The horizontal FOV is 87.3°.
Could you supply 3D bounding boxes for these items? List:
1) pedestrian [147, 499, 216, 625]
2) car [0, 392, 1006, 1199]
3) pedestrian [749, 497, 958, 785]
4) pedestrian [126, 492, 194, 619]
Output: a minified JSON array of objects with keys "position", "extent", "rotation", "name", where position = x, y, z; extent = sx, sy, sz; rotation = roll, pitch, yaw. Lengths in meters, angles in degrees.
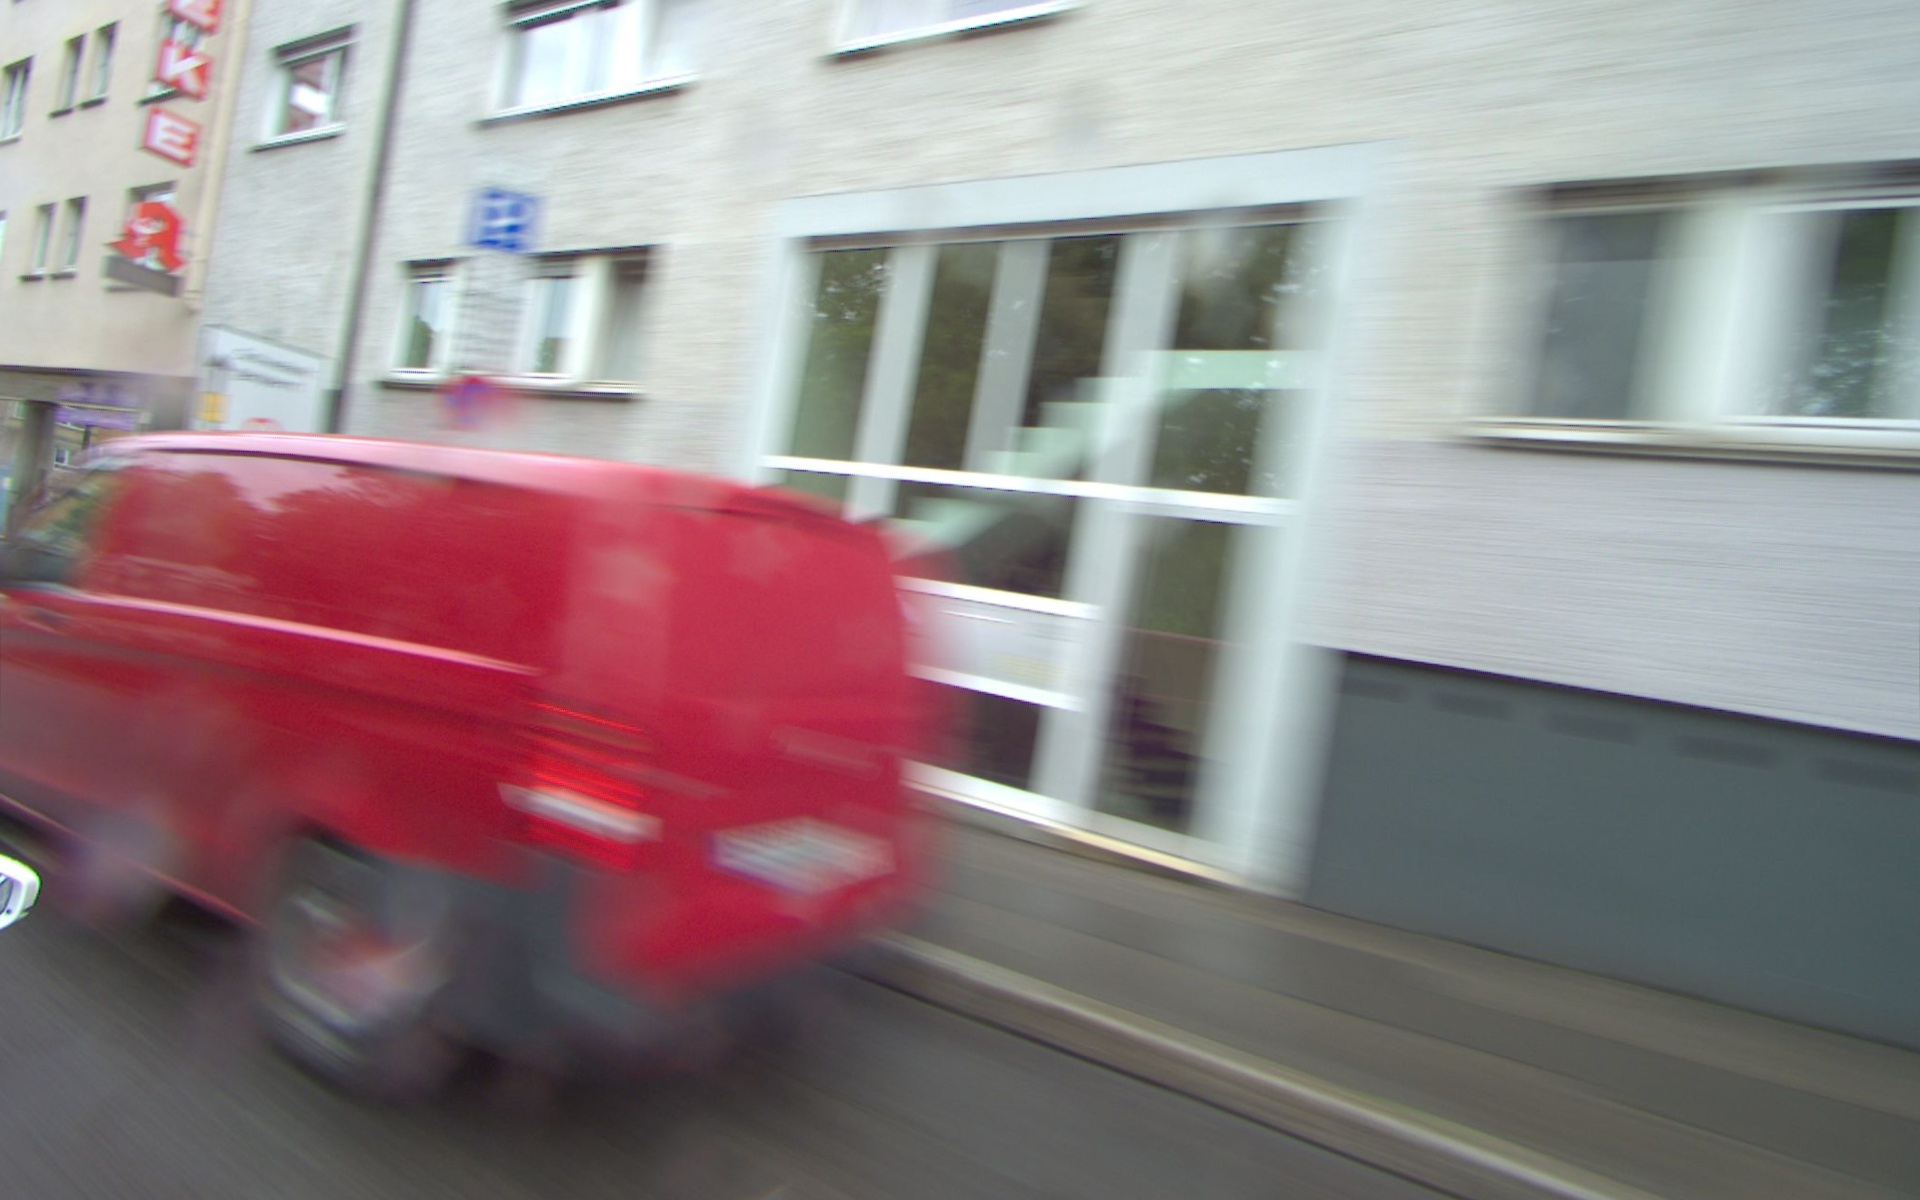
[{"position":[-10.786,-0.525,13.940],"extent":[0.326,1.663,0.481],"rotation":[8,-2,35],"name":"pedestrian"},{"position":[-2.637,0.305,4.350],"extent":[5.156,1.859,1.980],"rotation":[7,-2,30],"name":"car"},{"position":[-0.710,0.285,6.892],"extent":[0.823,1.777,0.853],"rotation":[8,-2,32],"name":"pedestrian"},{"position":[-11.400,-0.635,14.343],"extent":[0.509,1.739,0.461],"rotation":[6,-2,40],"name":"pedestrian"}]
